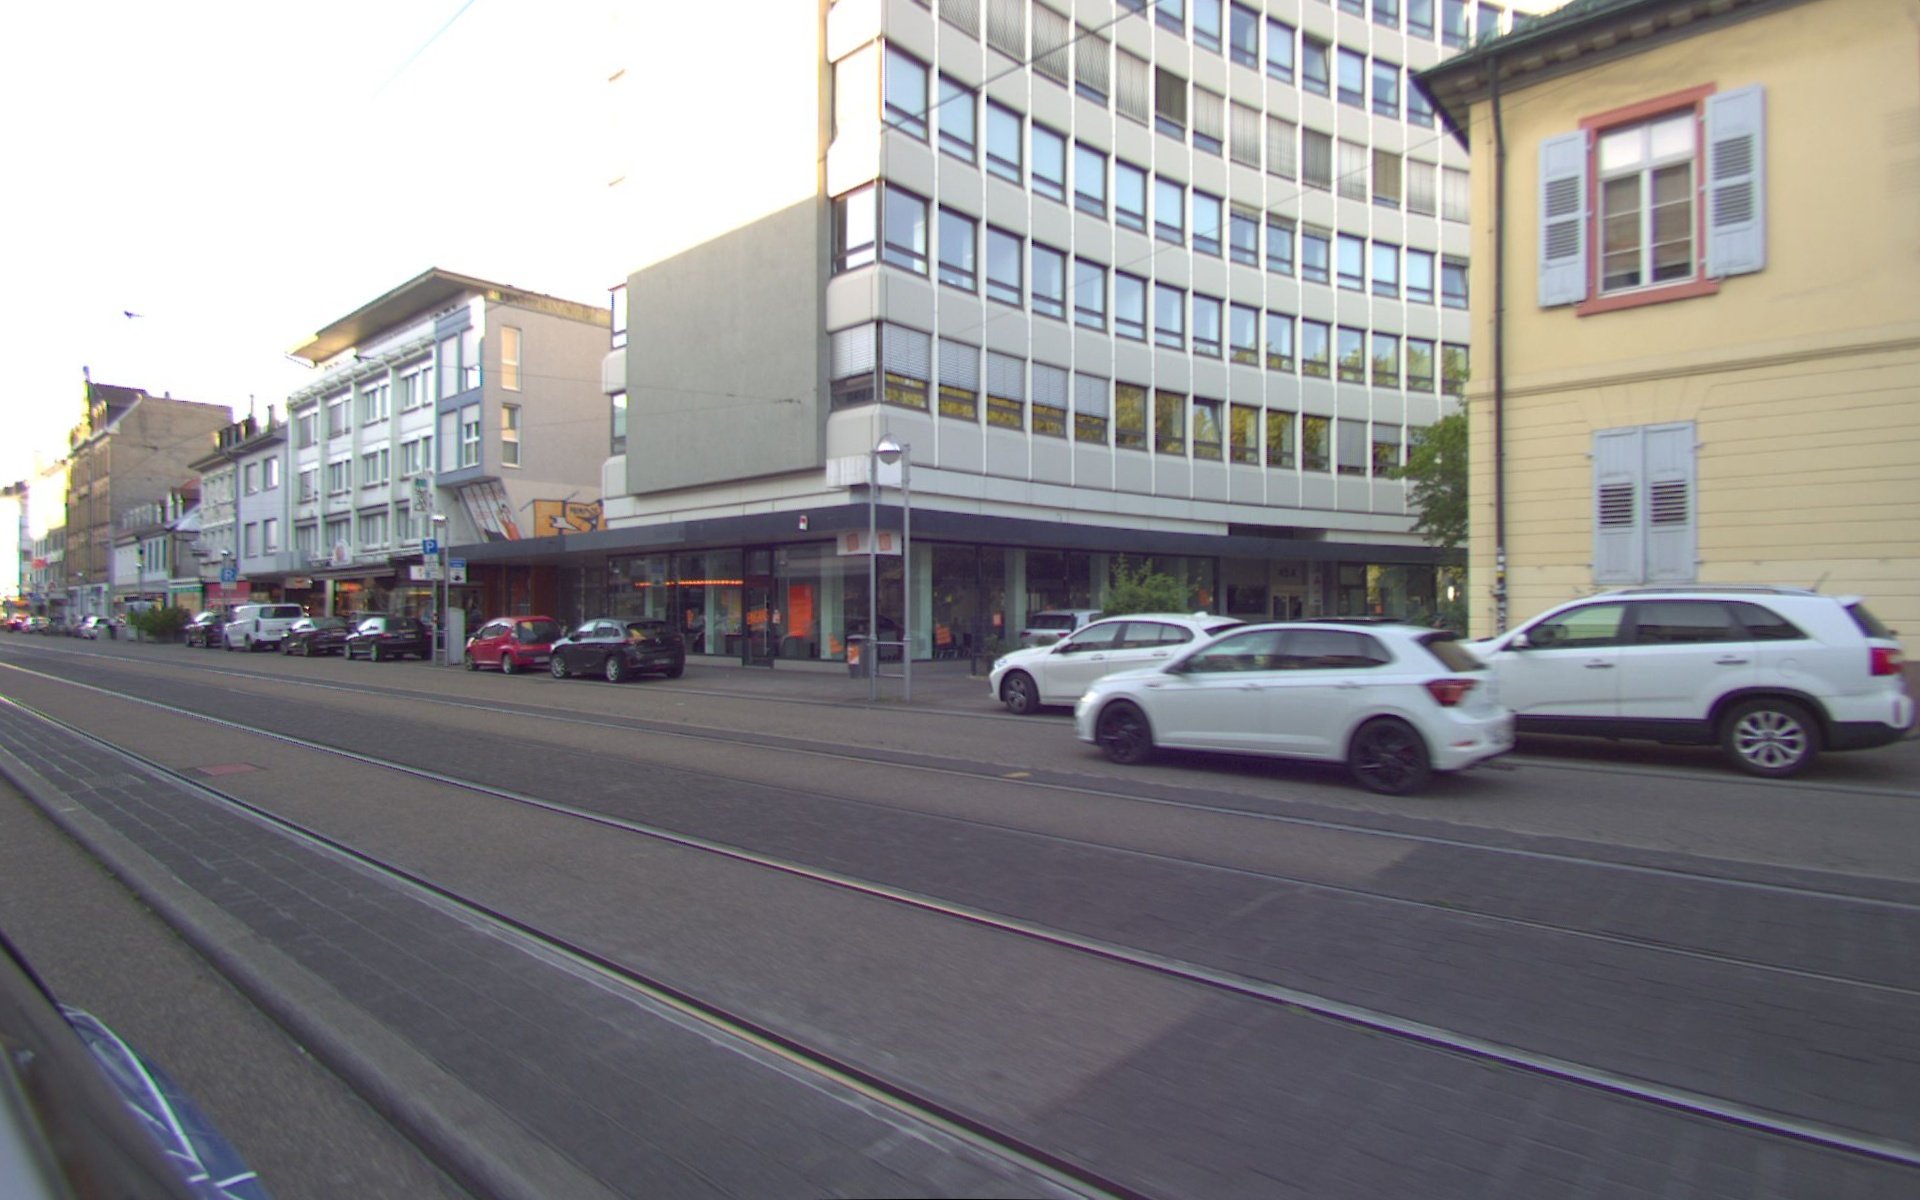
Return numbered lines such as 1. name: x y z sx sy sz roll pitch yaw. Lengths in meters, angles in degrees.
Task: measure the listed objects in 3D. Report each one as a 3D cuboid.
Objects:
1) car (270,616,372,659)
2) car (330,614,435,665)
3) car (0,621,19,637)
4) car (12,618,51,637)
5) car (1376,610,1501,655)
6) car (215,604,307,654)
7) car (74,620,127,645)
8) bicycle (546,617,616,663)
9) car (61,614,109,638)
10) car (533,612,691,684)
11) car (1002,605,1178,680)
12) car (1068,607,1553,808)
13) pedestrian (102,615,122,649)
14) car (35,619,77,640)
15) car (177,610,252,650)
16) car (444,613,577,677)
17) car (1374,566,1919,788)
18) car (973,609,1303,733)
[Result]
1. car: -24.000 1.370 37.929 4.555 1.477 1.973 -1 0 40
2. car: -19.167 1.261 33.505 4.444 1.523 1.668 -1 0 41
3. car: -96.100 2.869 101.599 3.998 1.564 1.973 -1 -1 41
4. car: -79.770 2.379 86.941 4.204 1.564 1.973 -1 -1 41
5. car: 16.617 1.094 35.126 3.930 1.497 1.766 0 -1 -24
6. car: -29.644 1.211 42.851 5.159 1.992 1.935 -1 -2 40
7. car: -55.795 2.093 65.651 4.877 1.556 1.972 -1 0 42
8. bicycle: -12.143 1.264 32.486 0.833 1.436 1.948 -1 -2 39
9. car: -59.932 1.765 69.316 4.550 1.556 1.889 -1 -1 41
10. car: -8.226 1.073 23.749 4.213 1.523 1.668 -1 0 42
11. car: 2.883 0.871 21.892 1.846 1.478 3.943 -1 -1 43
12. car: 3.205 0.858 9.699 4.032 1.523 1.787 -1 -2 41
13. pedestrian: -50.630 1.908 60.450 0.811 2.029 0.714 1 -2 -33
14. car: -71.026 2.306 79.511 3.998 1.564 1.973 -1 -1 41
15. car: -35.197 1.401 47.760 4.524 1.734 1.839 -1 1 40
16. car: -12.122 1.166 27.186 4.213 1.523 1.668 -1 1 42
17. car: 6.823 0.642 10.307 4.491 1.799 1.796 -1 2 38
18. car: 2.422 0.916 14.576 4.432 1.523 1.792 -1 -2 43
